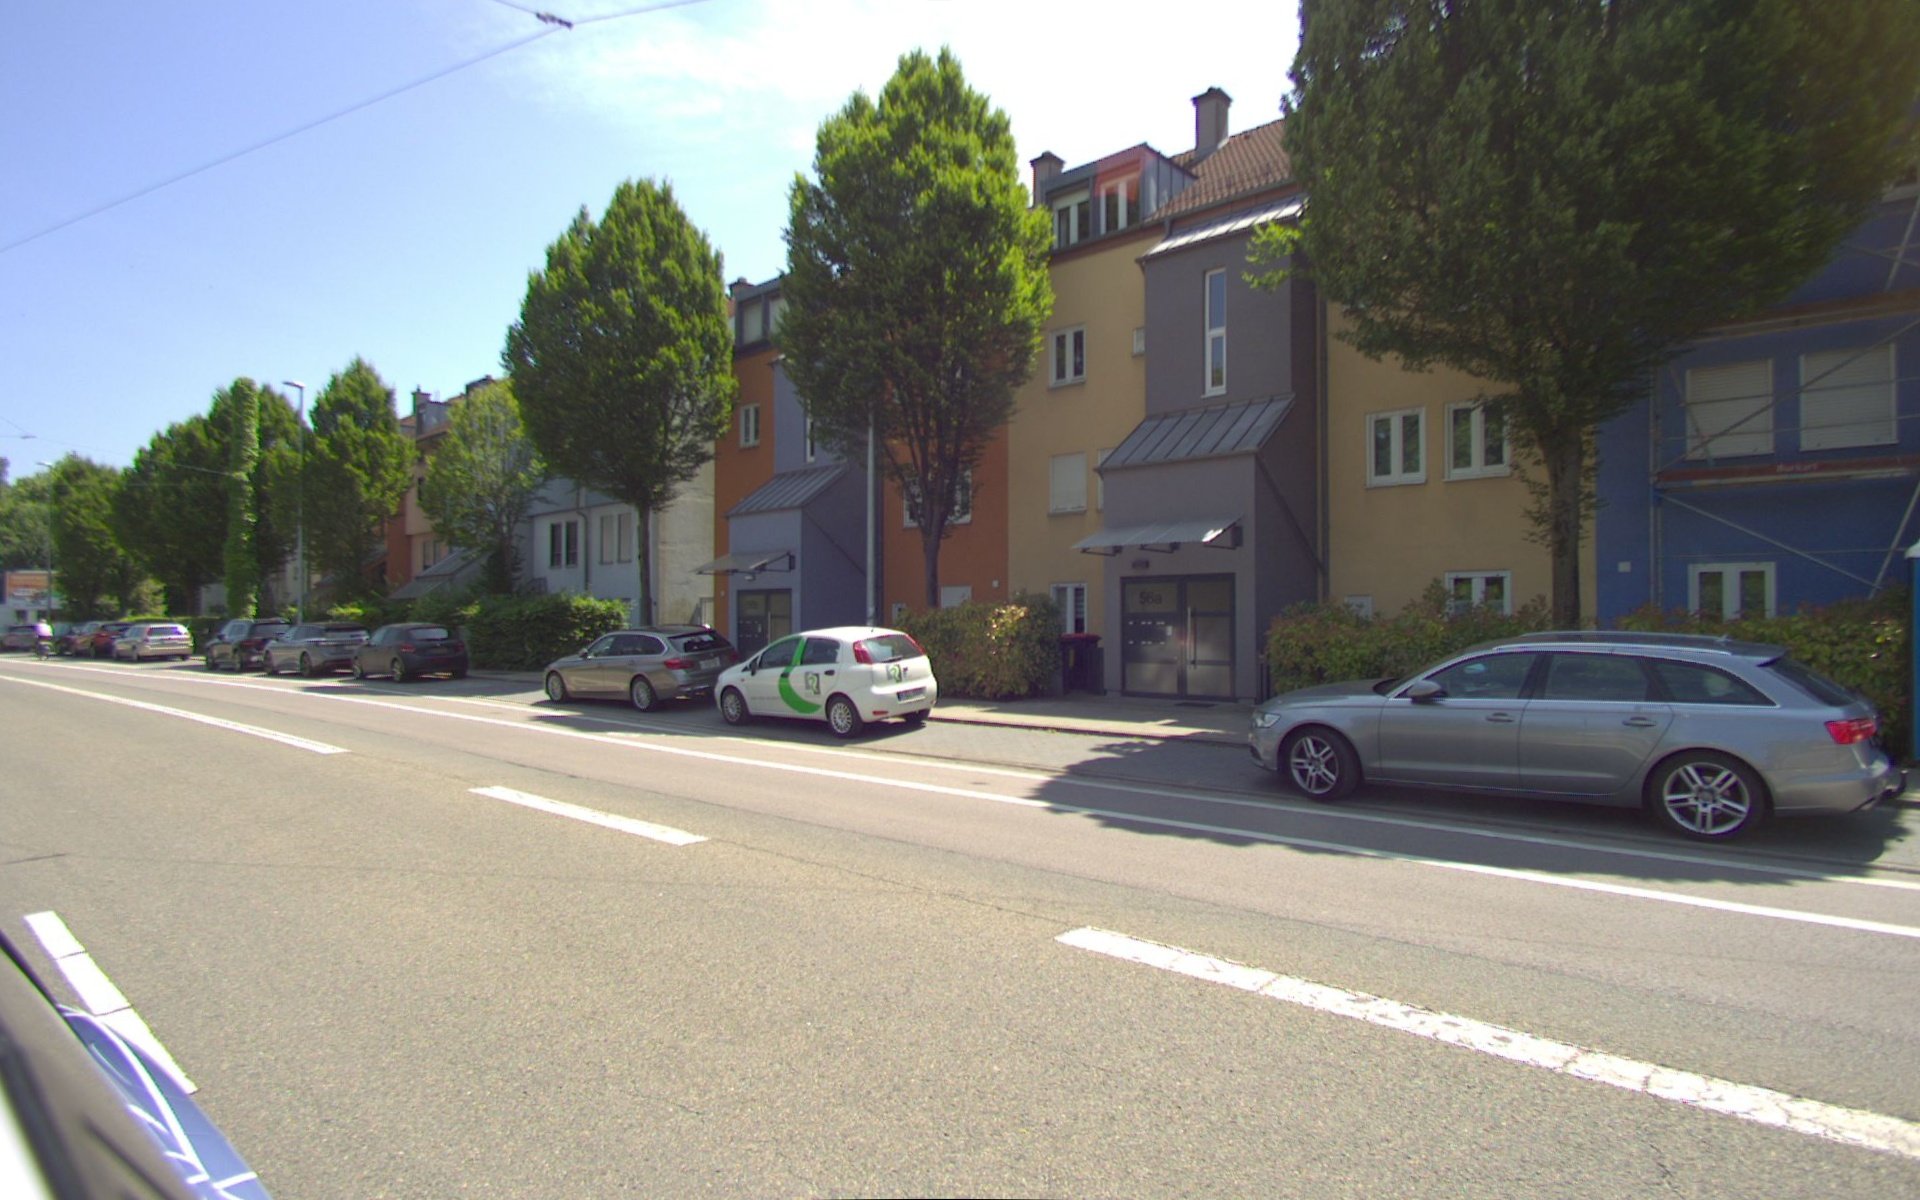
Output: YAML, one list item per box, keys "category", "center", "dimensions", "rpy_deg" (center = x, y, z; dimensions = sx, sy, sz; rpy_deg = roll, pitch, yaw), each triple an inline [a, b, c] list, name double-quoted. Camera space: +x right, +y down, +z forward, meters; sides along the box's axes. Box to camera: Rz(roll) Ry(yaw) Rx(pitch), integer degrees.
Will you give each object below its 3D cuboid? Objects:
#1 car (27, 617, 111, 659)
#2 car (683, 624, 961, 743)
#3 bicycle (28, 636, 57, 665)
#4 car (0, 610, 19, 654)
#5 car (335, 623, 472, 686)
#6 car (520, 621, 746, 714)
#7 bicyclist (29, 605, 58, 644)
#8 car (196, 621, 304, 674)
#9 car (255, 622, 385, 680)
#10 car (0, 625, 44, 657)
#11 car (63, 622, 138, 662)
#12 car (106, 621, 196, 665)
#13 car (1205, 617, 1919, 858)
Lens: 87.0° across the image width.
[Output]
- category: "car"
  center: [-41.325, 1.730, 46.923]
  dimensions: [4.548, 1.808, 1.976]
  rpy_deg: [-1, -1, 36]
- category: "car"
  center: [-2.246, 1.177, 15.691]
  dimensions: [4.418, 1.453, 1.728]
  rpy_deg: [-2, 3, 41]
- category: "bicycle"
  center: [-36.847, 2.029, 40.638]
  dimensions: [1.638, 1.104, 0.633]
  rpy_deg: [0, -3, 42]
- category: "car"
  center: [-53.808, 1.799, 55.272]
  dimensions: [5.213, 2.325, 2.260]
  rpy_deg: [-2, 0, 33]
- category: "car"
  center: [-14.663, 1.374, 26.559]
  dimensions: [4.254, 1.443, 1.732]
  rpy_deg: [-1, 1, 40]
- category: "car"
  center: [-6.331, 1.223, 19.329]
  dimensions: [4.744, 1.440, 1.688]
  rpy_deg: [-2, 3, 38]
- category: "bicyclist"
  center: [-36.812, 0.990, 40.660]
  dimensions: [0.736, 1.516, 0.728]
  rpy_deg: [0, -3, 42]
- category: "car"
  center: [-23.449, 1.534, 33.362]
  dimensions: [4.142, 1.601, 1.750]
  rpy_deg: [-2, 0, 38]
- category: "car"
  center: [-18.877, 1.465, 29.760]
  dimensions: [4.752, 1.507, 1.807]
  rpy_deg: [-2, 0, 39]
- category: "car"
  center: [-48.830, 2.105, 51.982]
  dimensions: [4.135, 1.549, 1.848]
  rpy_deg: [-2, 0, 36]
- category: "car"
  center: [-37.173, 1.819, 43.767]
  dimensions: [3.673, 1.606, 1.586]
  rpy_deg: [-2, 0, 35]
- category: "car"
  center: [-32.325, 1.699, 40.385]
  dimensions: [4.490, 1.594, 1.822]
  rpy_deg: [-2, 0, 38]
- category: "car"
  center: [4.956, 0.993, 8.946]
  dimensions: [5.129, 1.461, 1.769]
  rpy_deg: [-2, 2, 40]
